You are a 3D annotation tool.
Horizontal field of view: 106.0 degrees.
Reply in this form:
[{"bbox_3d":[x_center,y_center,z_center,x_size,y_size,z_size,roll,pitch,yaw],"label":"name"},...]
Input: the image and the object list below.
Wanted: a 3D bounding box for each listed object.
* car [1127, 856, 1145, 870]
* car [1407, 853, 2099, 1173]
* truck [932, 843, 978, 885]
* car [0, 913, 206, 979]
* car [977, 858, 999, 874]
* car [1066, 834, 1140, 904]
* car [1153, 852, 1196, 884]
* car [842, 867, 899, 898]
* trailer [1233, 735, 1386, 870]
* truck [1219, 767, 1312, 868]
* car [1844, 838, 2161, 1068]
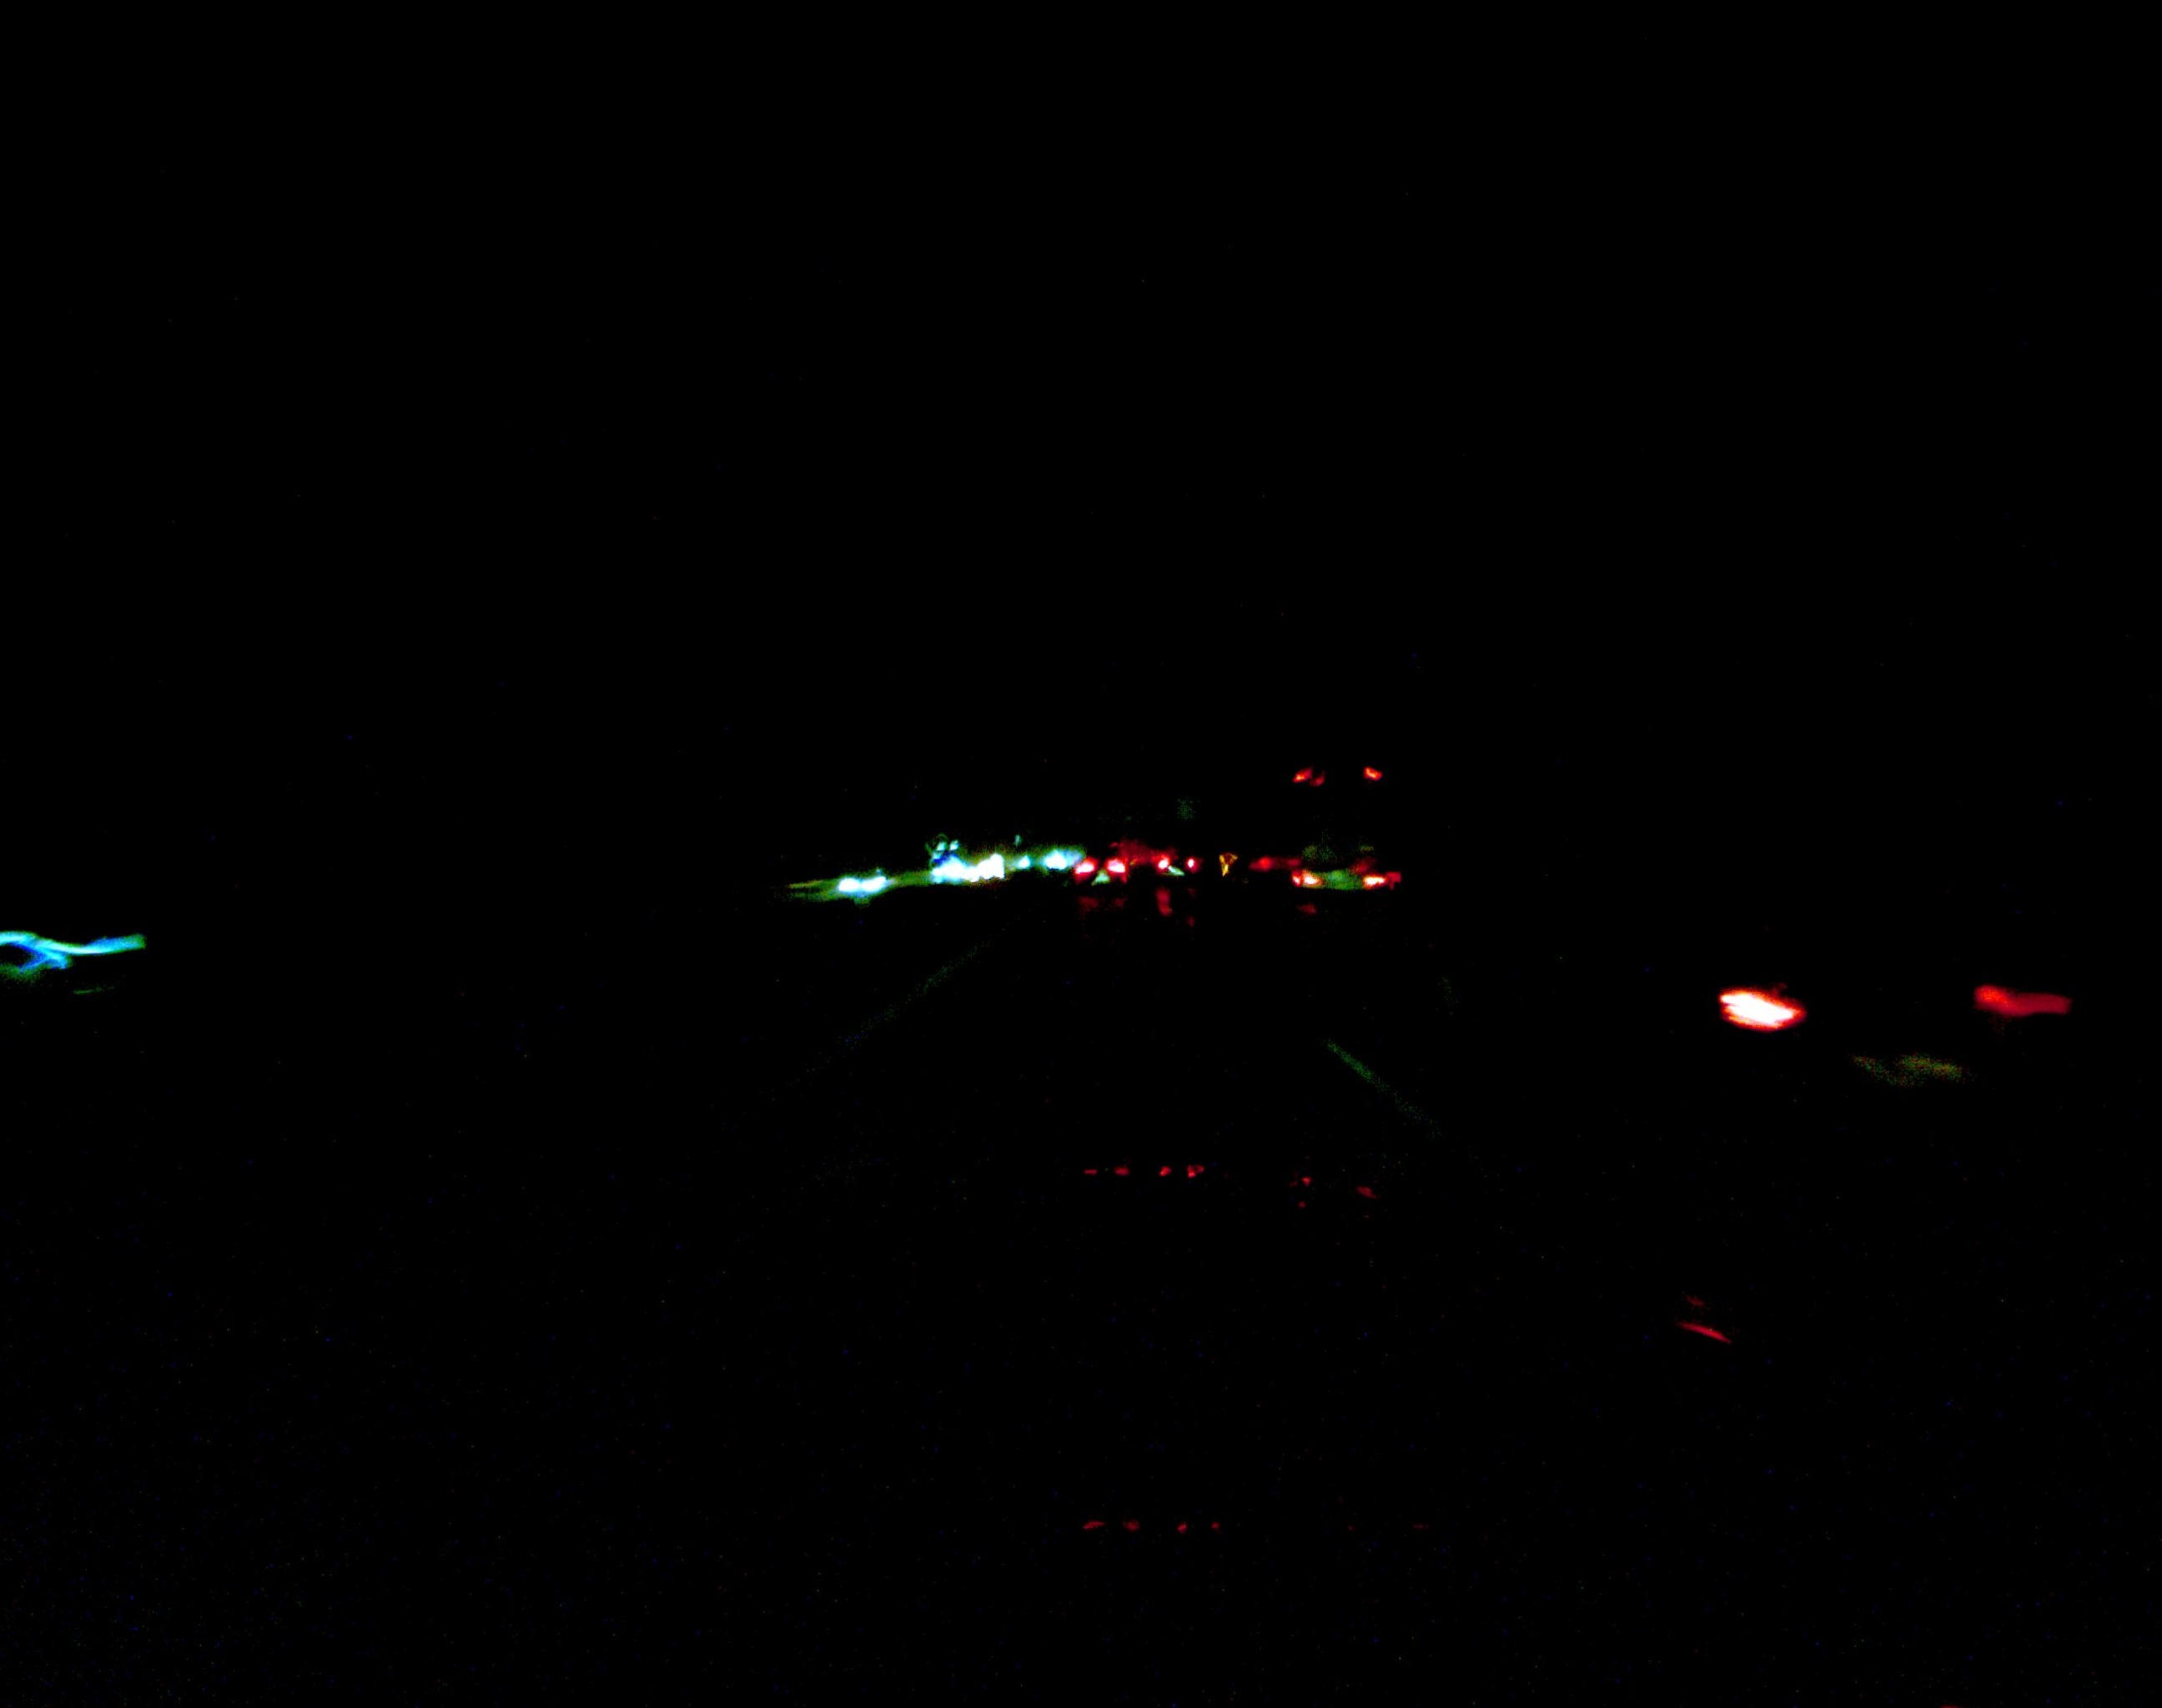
[{"bbox_3d":[6.833,1.115,102.066,2.128,1.618,4.002,0,-1,2],"label":"car"},{"bbox_3d":[3.771,0.722,5.548,1.607,1.412,3.792,-1,0,0],"label":"car"},{"bbox_3d":[-14.218,1.081,93.094,2.920,4.327,11.440,-3,-1,2],"label":"truck"},{"bbox_3d":[-29.081,2.634,24.025,1.858,1.471,4.350,0,-1,-2],"label":"car"},{"bbox_3d":[-9.763,1.233,85.481,1.748,1.525,4.116,-2,0,0],"label":"car"},{"bbox_3d":[0.853,0.546,34.014,2.701,2.534,5.830,-3,0,0],"label":"car"},{"bbox_3d":[4.811,0.719,42.549,1.877,1.588,4.001,-1,0,1],"label":"car"},{"bbox_3d":[-11.634,1.533,45.363,1.854,1.581,4.515,0,-1,2],"label":"car"},{"bbox_3d":[8.283,-1.592,31.596,2.793,4.212,12.100,-1,0,1],"label":"trailer"},{"bbox_3d":[8.463,-1.531,38.255,2.793,4.267,7.450,-1,0,1],"label":"truck"},{"bbox_3d":[7.928,0.640,5.000,1.888,1.486,4.962,0,0,0],"label":"car"}]
